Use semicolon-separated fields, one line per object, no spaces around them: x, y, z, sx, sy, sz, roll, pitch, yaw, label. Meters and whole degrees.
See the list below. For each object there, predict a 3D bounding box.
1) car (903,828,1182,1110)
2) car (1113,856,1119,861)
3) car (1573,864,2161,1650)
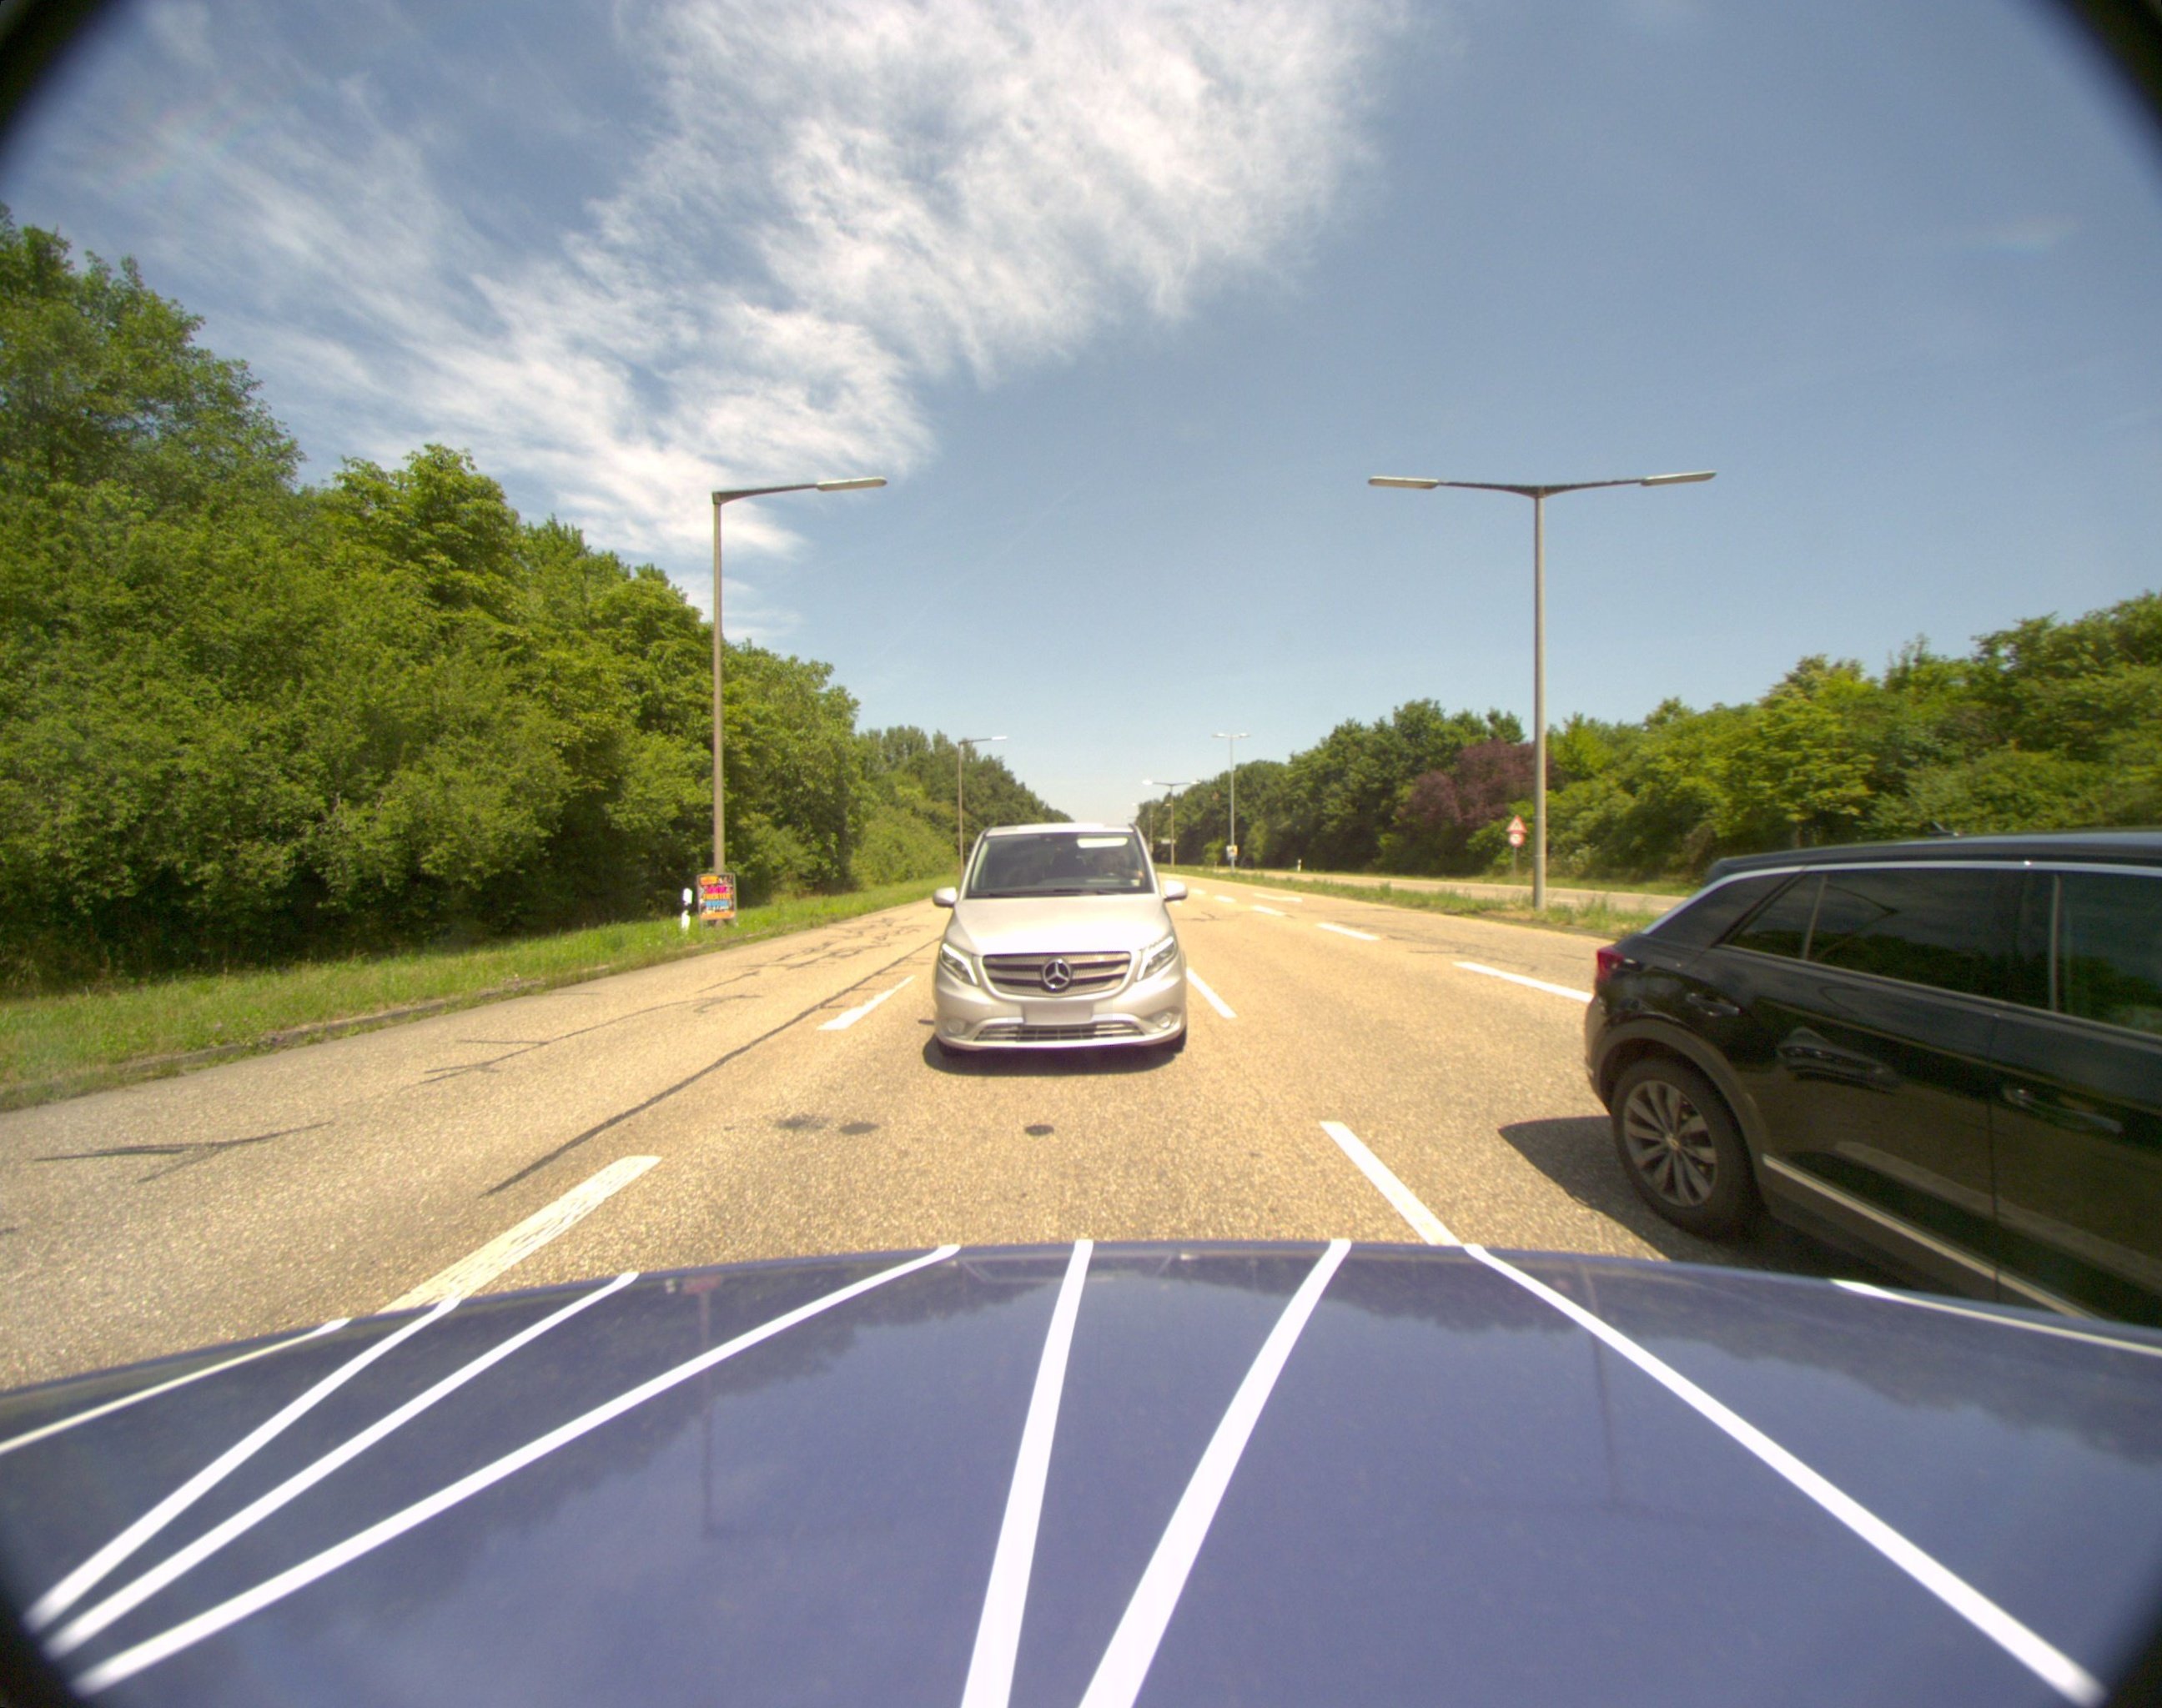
-0.226;0.752;7.416;1.764;1.794;4.855;-2;0;1;car
11.265;1.428;242.450;1.735;1.815;4.321;-1;0;1;car
3.061;0.856;1.404;1.739;1.503;3.970;-2;1;1;car
